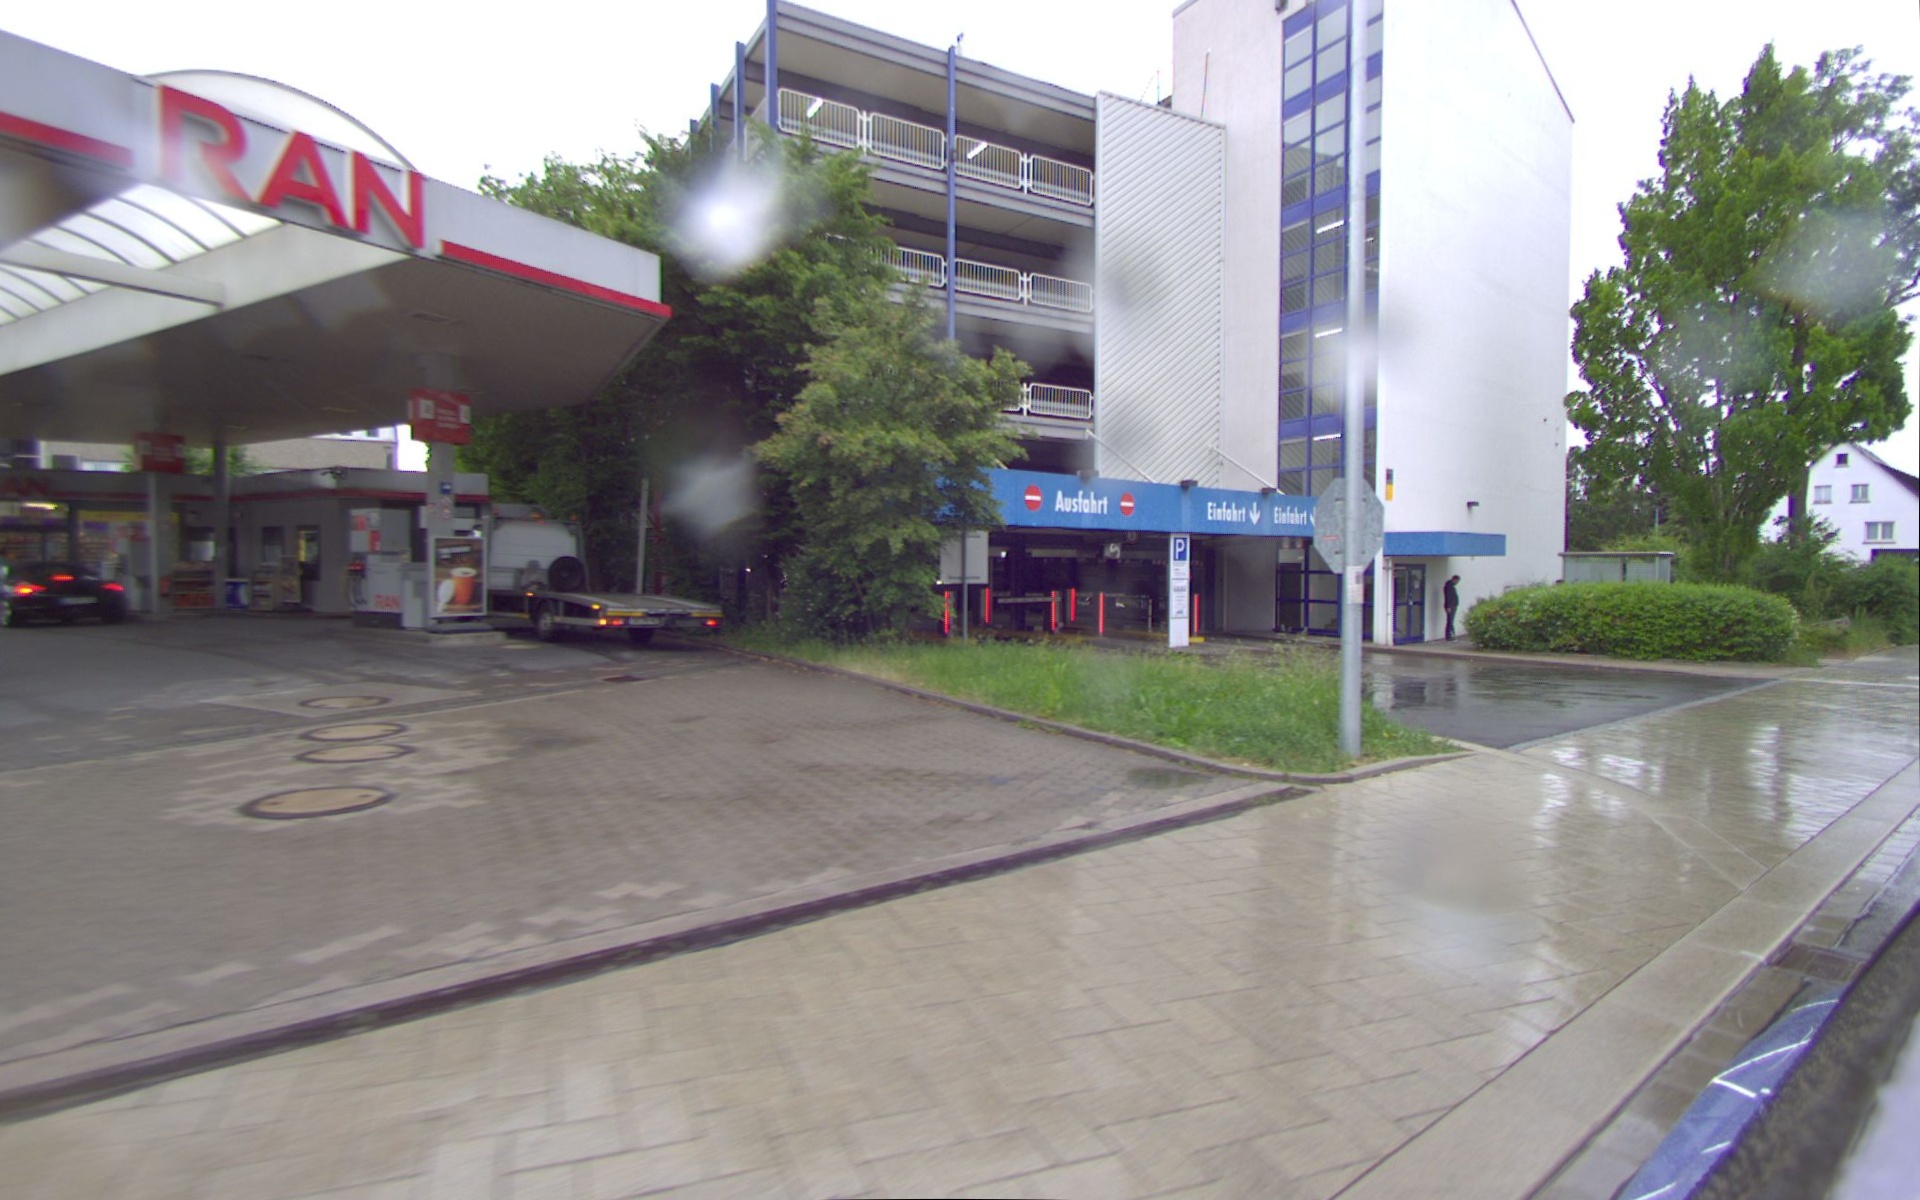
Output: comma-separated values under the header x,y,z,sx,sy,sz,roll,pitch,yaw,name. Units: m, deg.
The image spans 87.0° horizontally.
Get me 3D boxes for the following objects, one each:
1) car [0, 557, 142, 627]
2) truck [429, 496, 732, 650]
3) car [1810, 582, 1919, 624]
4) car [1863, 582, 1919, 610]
x,y,z,sx,sy,sz,roll,pitch,yaw,name
-18.345,-0.222,20.331,3.968,1.227,1.724,2,3,31,car
-7.000,-0.544,17.940,7.279,2.234,2.052,4,1,44,truck
34.892,0.088,38.316,1.838,1.471,3.991,-1,2,-43,car
51.634,-0.201,54.751,1.838,1.471,3.991,-1,2,-43,car
